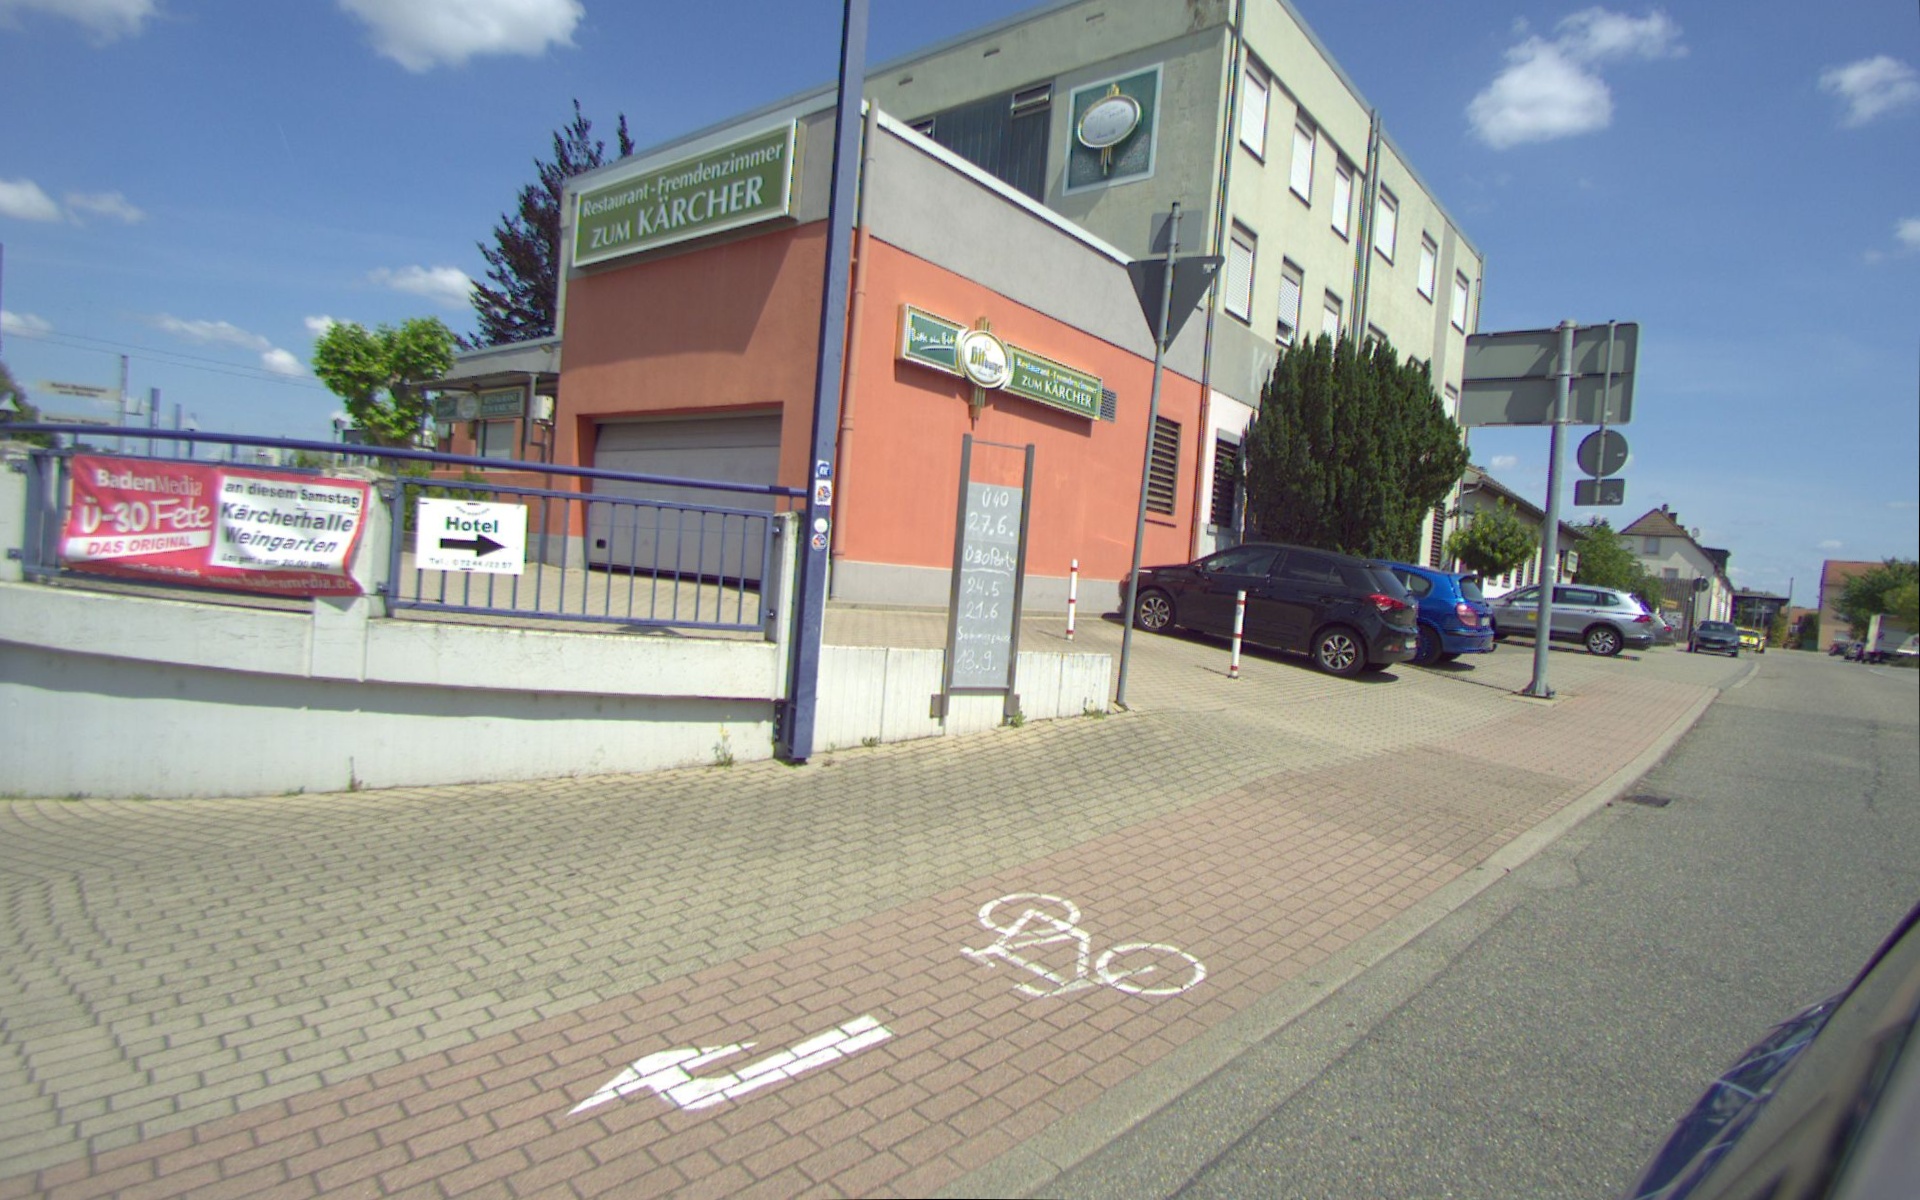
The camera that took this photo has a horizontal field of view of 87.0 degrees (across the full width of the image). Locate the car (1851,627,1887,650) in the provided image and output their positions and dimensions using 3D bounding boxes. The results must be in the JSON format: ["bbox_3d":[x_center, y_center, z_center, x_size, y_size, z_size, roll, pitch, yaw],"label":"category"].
[{"bbox_3d":[73.036,3.087,81.383,1.715,1.517,4.155,9,4,38],"label":"car"}]

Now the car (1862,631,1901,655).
[{"bbox_3d":[69.558,3.255,76.417,1.715,1.517,4.155,9,4,38],"label":"car"}]

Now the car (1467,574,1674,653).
[{"bbox_3d":[16.542,0.331,27.537,4.498,1.537,1.971,9,4,39],"label":"car"}]

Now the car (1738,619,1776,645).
[{"bbox_3d":[52.500,2.108,66.622,1.716,1.414,4.154,11,5,39],"label":"car"}]

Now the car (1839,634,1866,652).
[{"bbox_3d":[92.280,4.421,104.694,1.715,1.517,4.155,9,4,38],"label":"car"}]

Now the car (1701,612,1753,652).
[{"bbox_3d":[33.551,1.408,44.251,1.625,1.507,4.082,7,3,38],"label":"car"}]

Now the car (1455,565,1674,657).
[{"bbox_3d":[15.267,0.228,25.683,4.449,1.717,1.896,8,4,38],"label":"car"}]

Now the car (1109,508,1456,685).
[{"bbox_3d":[4.214,-0.147,13.532,3.896,1.506,1.785,14,9,38],"label":"car"}]

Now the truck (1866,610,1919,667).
[{"bbox_3d":[61.167,2.531,65.762,2.435,3.283,6.941,10,5,37],"label":"truck"}]

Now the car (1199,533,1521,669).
[{"bbox_3d":[6.224,-0.092,16.047,4.322,1.455,1.755,11,8,39],"label":"car"}]

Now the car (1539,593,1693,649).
[{"bbox_3d":[24.530,0.753,37.932,4.526,1.471,1.890,9,4,40],"label":"car"}]

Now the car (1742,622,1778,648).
[{"bbox_3d":[55.482,2.434,70.180,1.716,1.517,4.154,11,5,39],"label":"car"}]
